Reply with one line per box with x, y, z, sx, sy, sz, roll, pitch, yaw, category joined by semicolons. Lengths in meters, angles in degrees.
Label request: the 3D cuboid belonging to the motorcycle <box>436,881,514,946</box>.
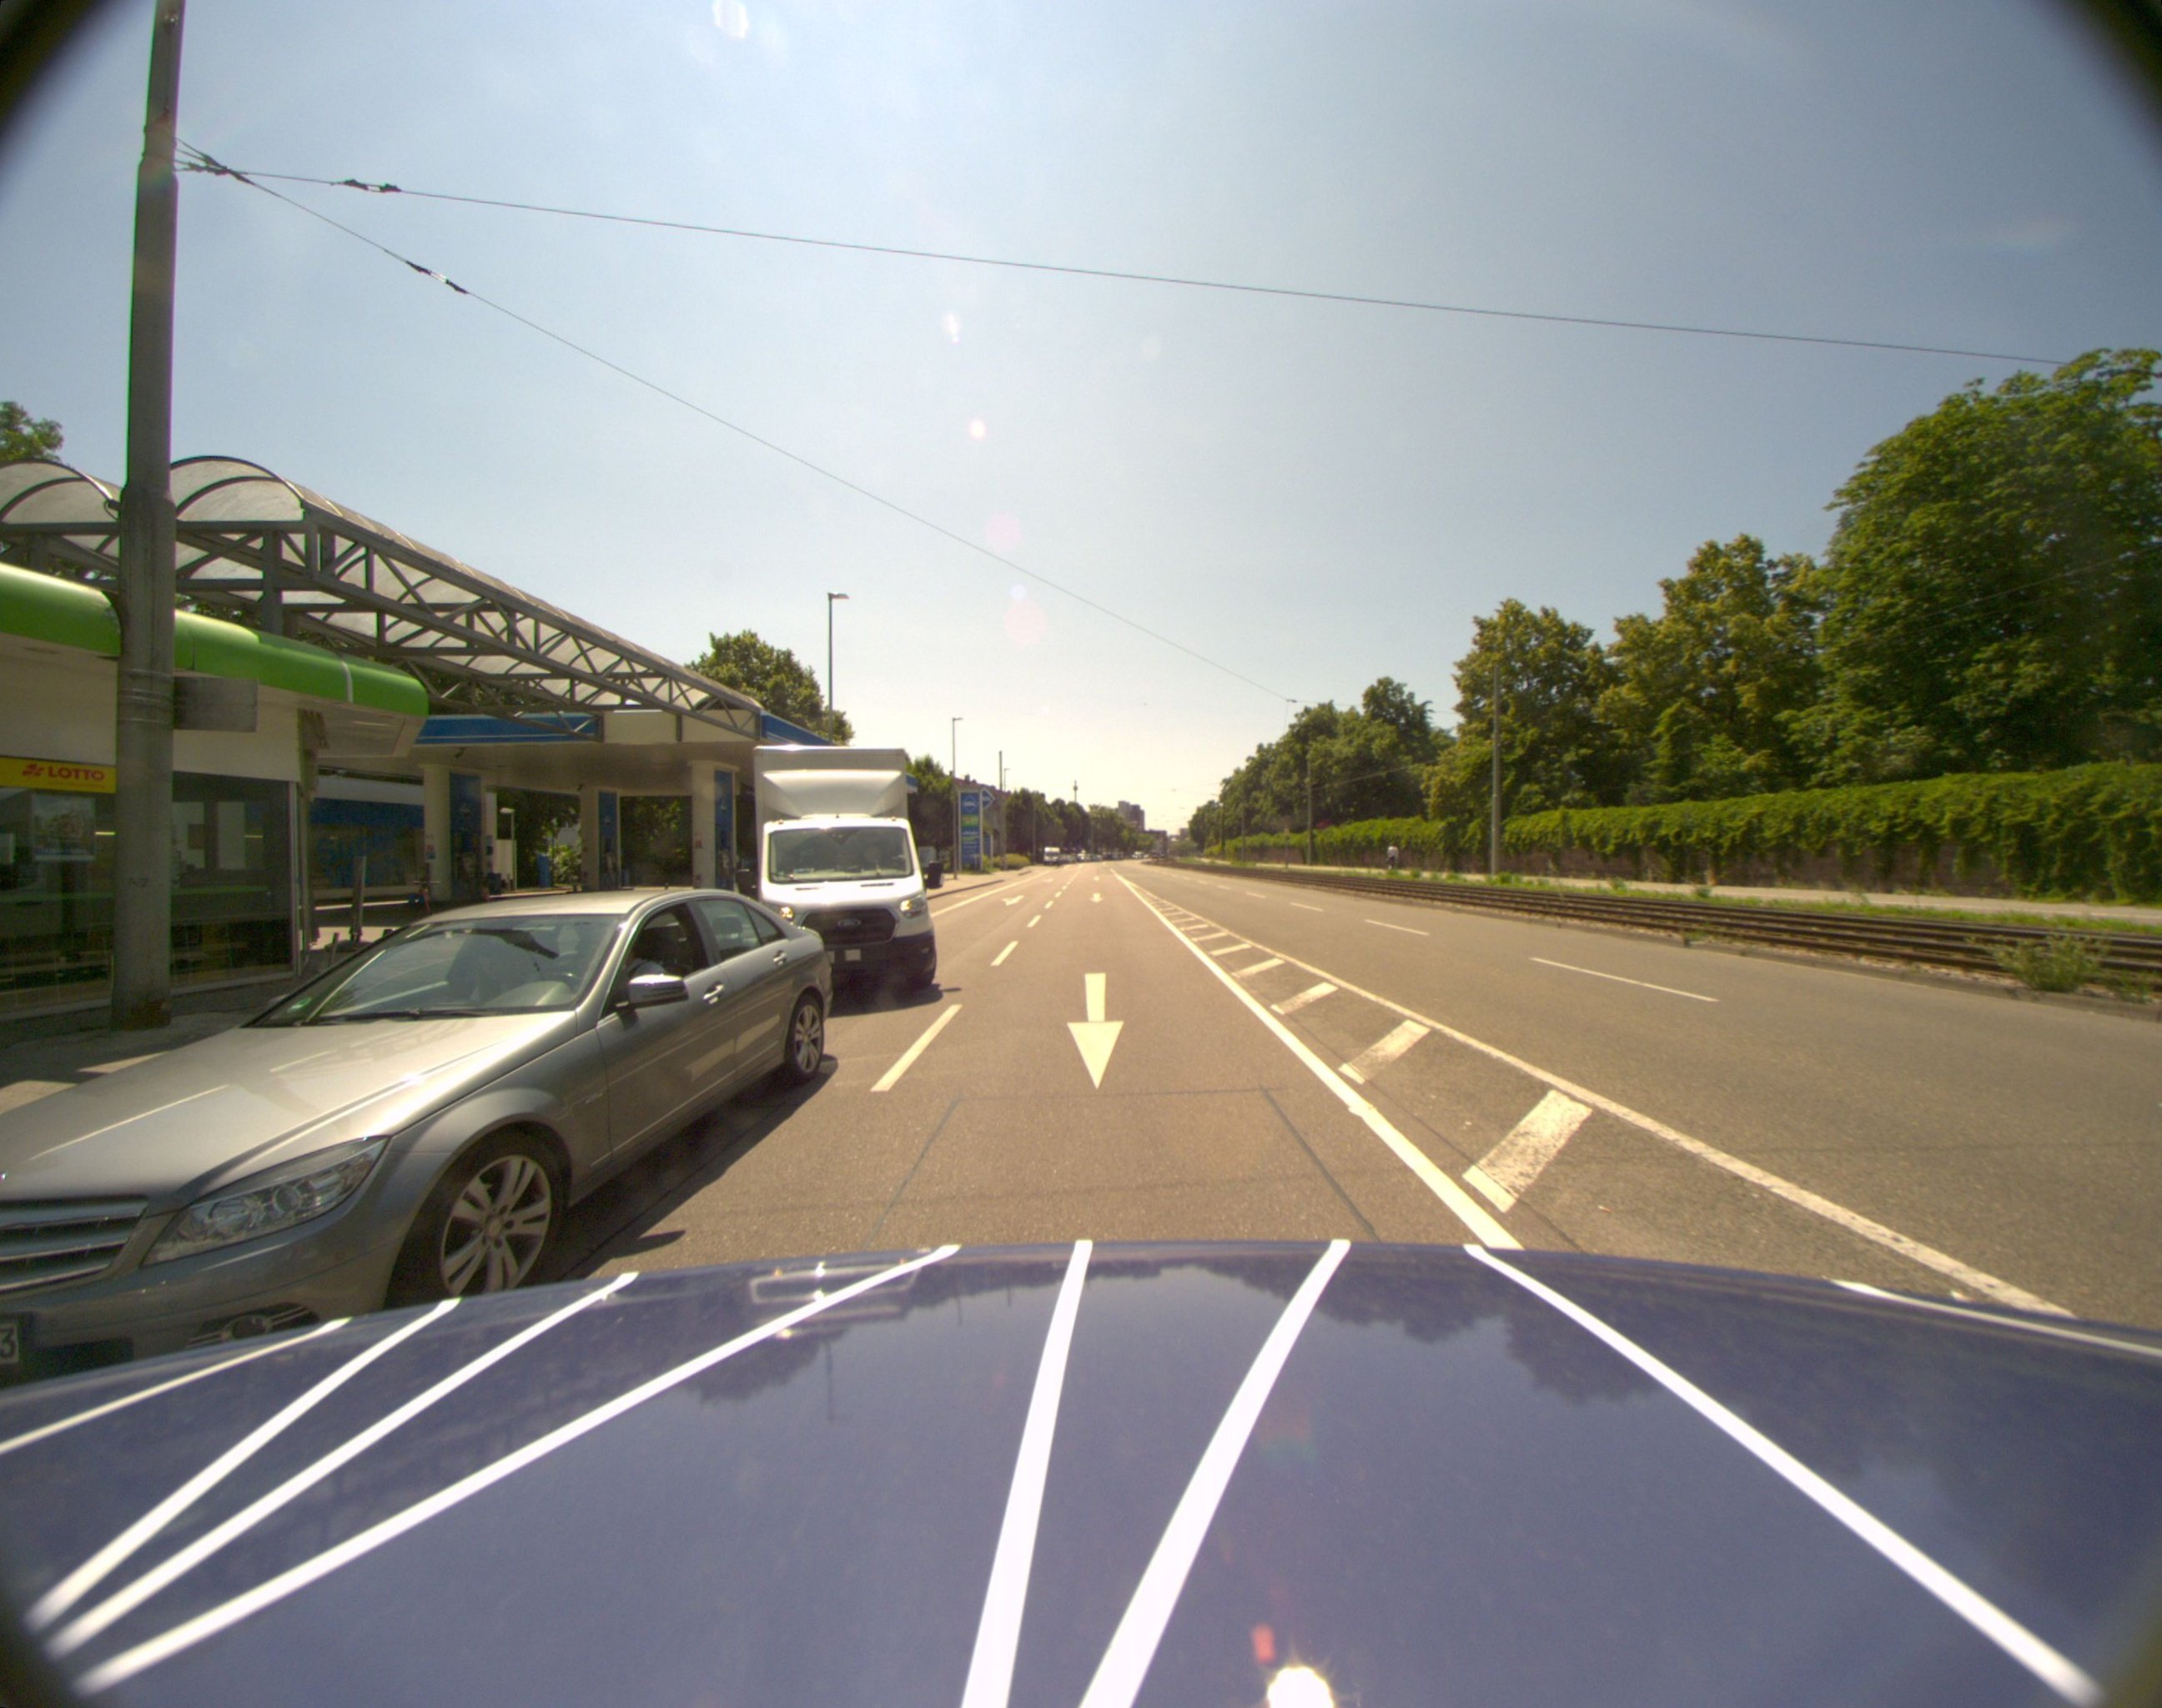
-11.594;1.129;14.541;1.157;1.203;0.364;1;-1;-1;motorcycle

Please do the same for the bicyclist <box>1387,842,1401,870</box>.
18.227;0.088;44.219;0.483;1.603;0.769;-2;1;1;bicyclist

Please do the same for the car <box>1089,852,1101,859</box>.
3.212;0.363;172.140;1.911;1.488;4.002;-2;1;10;car

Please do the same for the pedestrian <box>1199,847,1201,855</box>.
25.982;-0.699;165.836;0.453;1.655;0.302;-2;0;1;pedestrian

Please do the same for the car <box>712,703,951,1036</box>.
-3.924;0.141;11.994;2.233;3.316;8.622;-2;1;-19;car

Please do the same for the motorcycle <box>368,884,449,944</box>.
-12.843;1.142;14.517;1.157;1.107;0.396;1;-1;-1;motorcycle

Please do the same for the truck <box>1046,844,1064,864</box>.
-3.398;-0.036;101.544;1.998;2.462;5.237;-2;1;1;truck

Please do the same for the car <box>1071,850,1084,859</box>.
-0.616;0.119;139.207;1.912;1.488;4.001;-2;1;4;car

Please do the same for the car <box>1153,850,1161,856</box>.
22.190;-0.300;221.382;1.800;1.488;3.967;-2;0;14;car

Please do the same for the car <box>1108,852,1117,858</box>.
8.355;0.309;203.074;1.911;1.488;4.002;-2;1;10;car

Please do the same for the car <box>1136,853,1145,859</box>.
18.017;0.460;230.743;1.945;1.674;4.003;-2;1;13;car

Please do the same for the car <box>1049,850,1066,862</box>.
-3.344;0.285;108.636;1.912;1.488;4.001;-2;1;4;car

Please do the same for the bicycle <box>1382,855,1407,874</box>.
18.265;0.602;44.351;0.618;1.049;1.978;-2;1;0;bicycle

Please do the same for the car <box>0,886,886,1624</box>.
-2.788;1.057;4.398;1.717;1.464;5.302;-3;0;2;car
